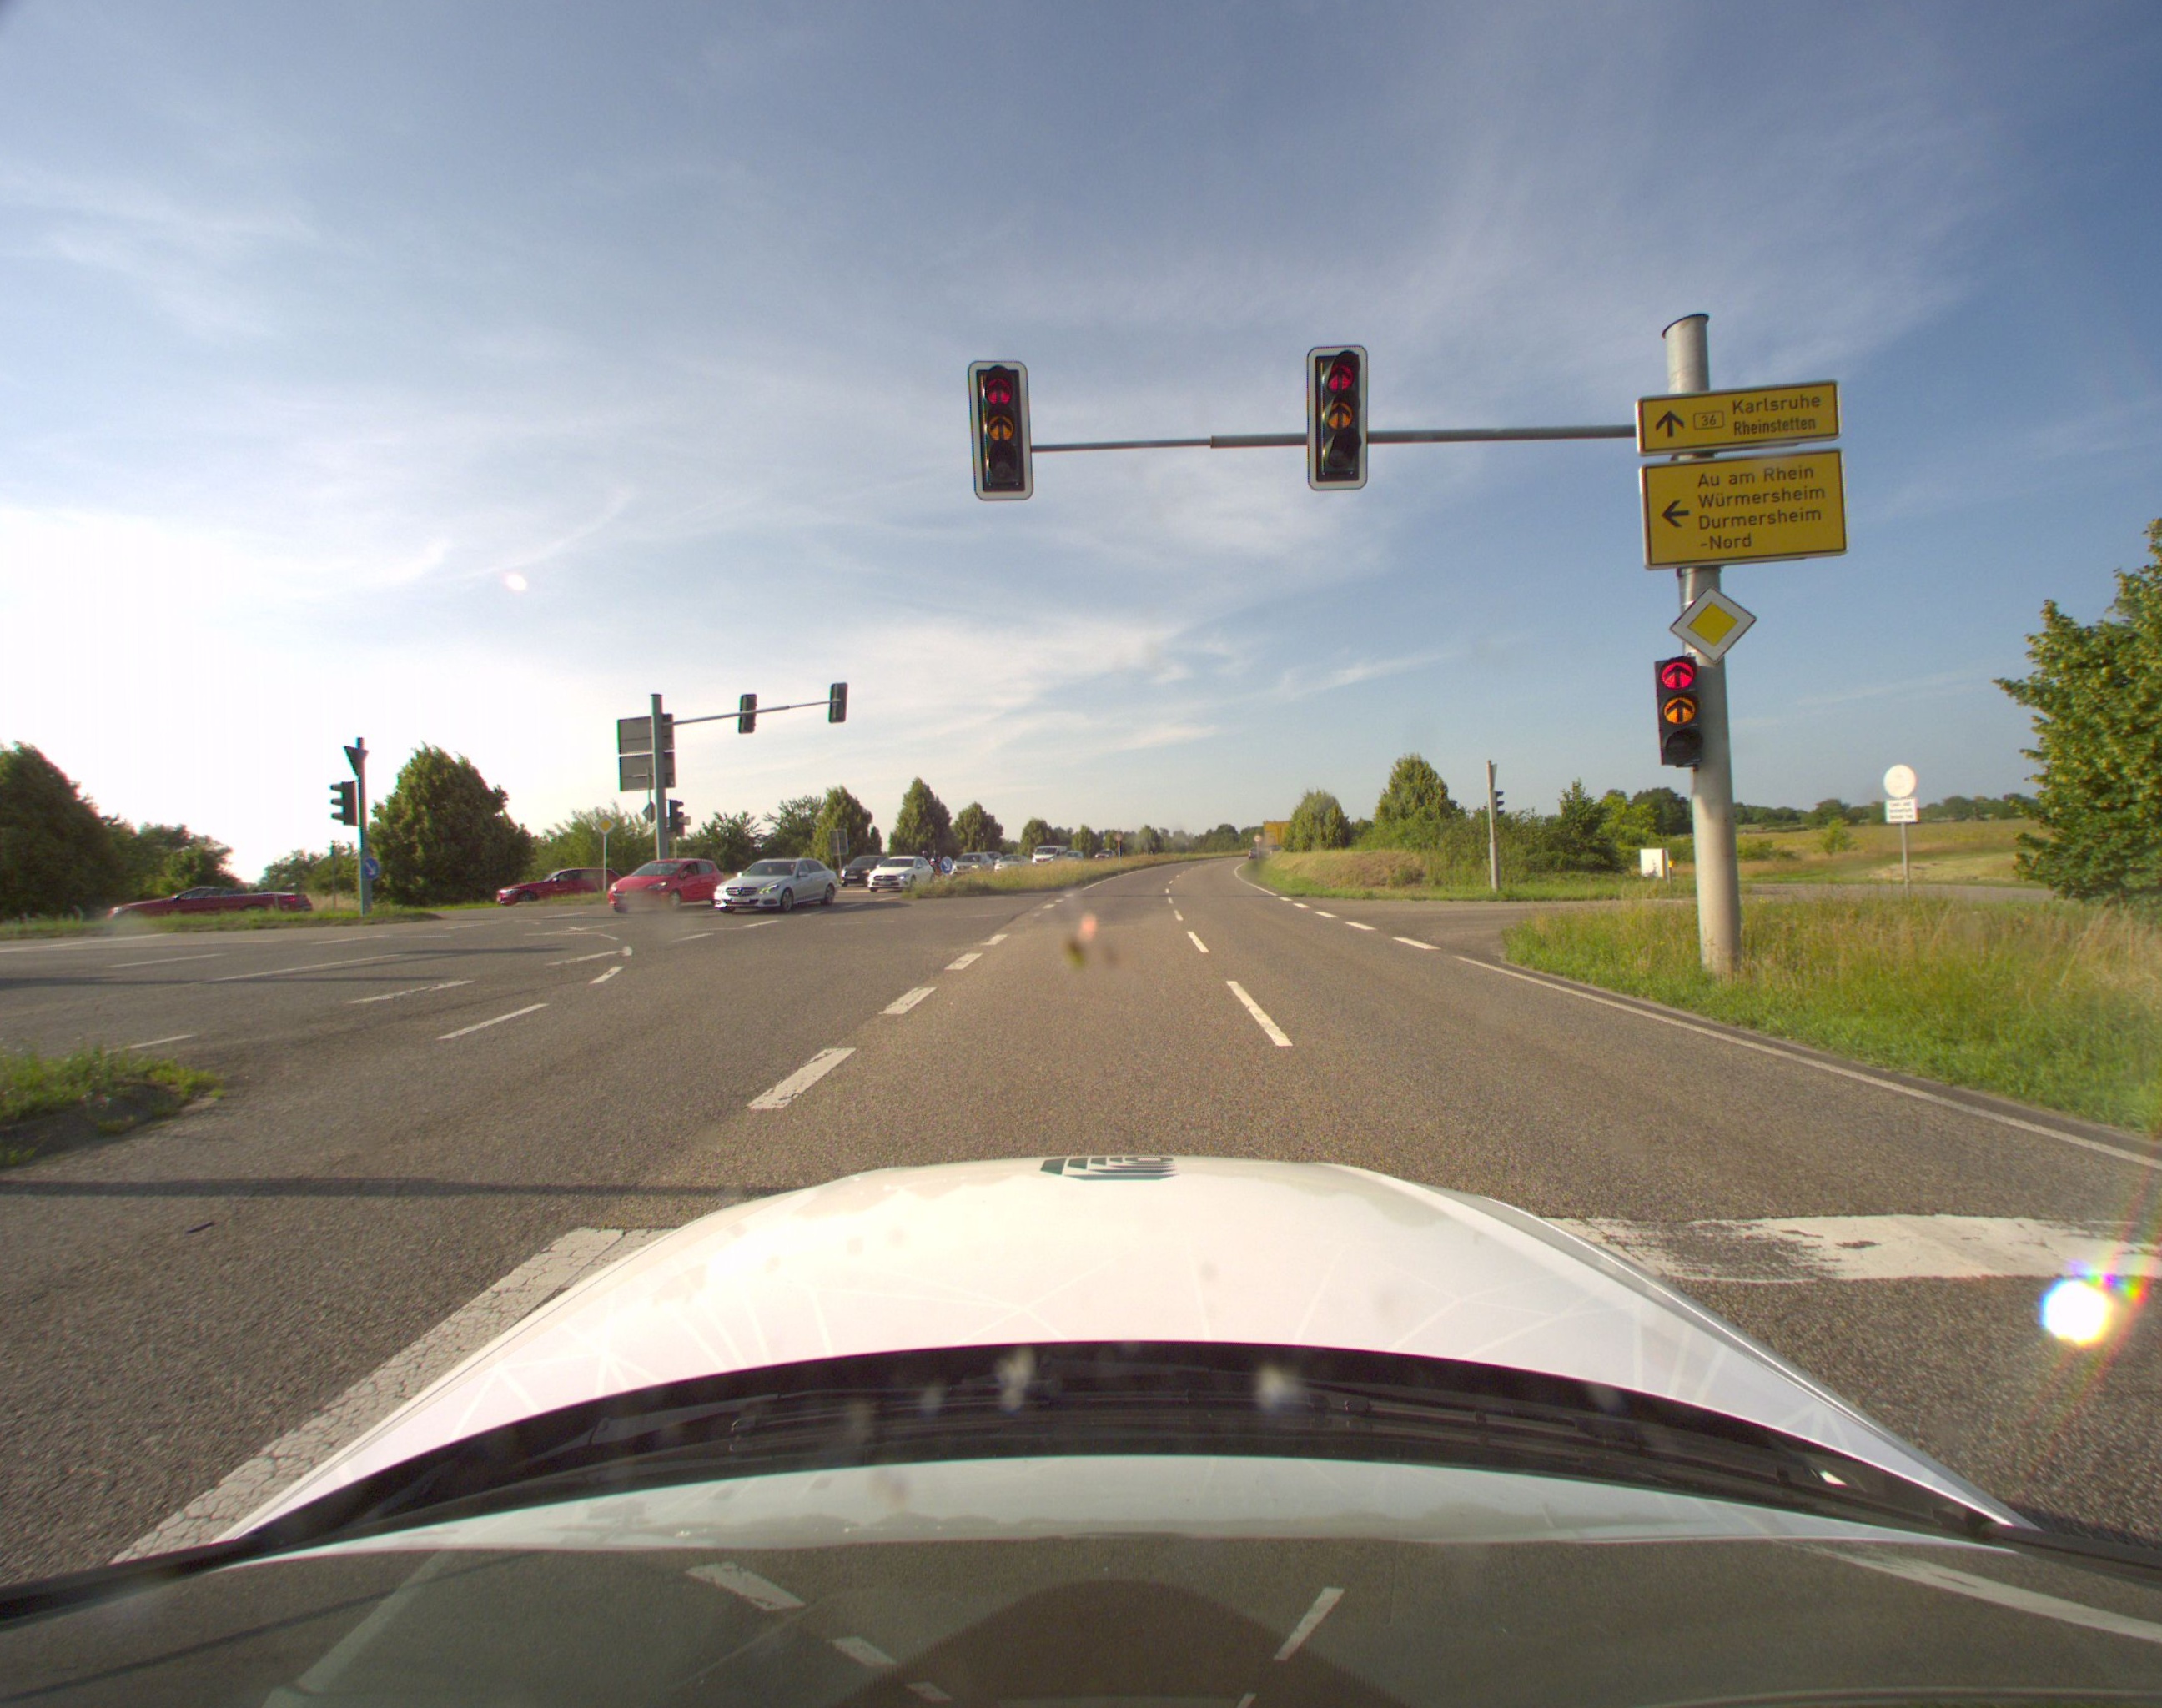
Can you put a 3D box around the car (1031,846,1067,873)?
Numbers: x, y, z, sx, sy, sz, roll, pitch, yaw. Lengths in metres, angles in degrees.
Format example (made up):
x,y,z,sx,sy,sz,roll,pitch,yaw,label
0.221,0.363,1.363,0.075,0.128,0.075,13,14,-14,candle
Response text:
x,y,z,sx,sy,sz,roll,pitch,yaw,label
-2.513,0.431,65.162,1.913,2.078,4.255,-2,0,10,car

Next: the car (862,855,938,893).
x,y,z,sx,sy,sz,roll,pitch,yaw,label
-7.540,0.788,34.297,1.777,1.433,4.316,-2,0,6,car

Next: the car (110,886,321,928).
x,y,z,sx,sy,sz,roll,pitch,yaw,label
-29.243,1.768,27.750,4.486,1.101,1.983,-2,0,-26,car

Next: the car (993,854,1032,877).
x,y,z,sx,sy,sz,roll,pitch,yaw,label
-4.535,0.746,54.162,1.777,1.385,4.058,-2,0,6,car

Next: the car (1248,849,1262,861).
x,y,z,sx,sy,sz,roll,pitch,yaw,label
23.742,0.162,111.166,1.773,1.605,4.207,-1,-1,10,car

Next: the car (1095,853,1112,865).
x,y,z,sx,sy,sz,roll,pitch,yaw,label
2.800,0.599,100.916,1.395,1.402,3.435,-2,0,14,car

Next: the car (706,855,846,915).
x,y,z,sx,sy,sz,roll,pitch,yaw,label
-8.516,0.795,23.252,1.777,1.488,4.659,-2,0,6,car

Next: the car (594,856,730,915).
x,y,z,sx,sy,sz,roll,pitch,yaw,label
-11.995,0.845,23.596,1.713,1.488,3.808,-2,0,4,car

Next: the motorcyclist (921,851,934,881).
x,y,z,sx,sy,sz,roll,pitch,yaw,label
-9.109,0.724,48.317,0.660,1.747,0.605,-2,0,-1,motorcyclist

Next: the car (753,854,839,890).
x,y,z,sx,sy,sz,roll,pitch,yaw,label
-14.631,0.881,42.019,1.825,1.726,4.023,-2,0,24,car

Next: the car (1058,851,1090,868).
x,y,z,sx,sy,sz,roll,pitch,yaw,label
-0.631,0.499,73.520,1.772,1.385,4.068,-2,0,16,car

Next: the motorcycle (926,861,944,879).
x,y,z,sx,sy,sz,roll,pitch,yaw,label
-9.274,1.027,51.893,0.870,1.097,1.298,-2,0,0,motorcycle

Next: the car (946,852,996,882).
x,y,z,sx,sy,sz,roll,pitch,yaw,label
-6.091,0.703,45.642,1.777,1.568,4.058,-2,0,6,car

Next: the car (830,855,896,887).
x,y,z,sx,sy,sz,roll,pitch,yaw,label
-10.737,0.810,40.403,1.777,1.433,4.058,-2,0,6,car

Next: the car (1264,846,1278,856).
x,y,z,sx,sy,sz,roll,pitch,yaw,label
30.233,-0.491,129.512,1.795,1.565,4.553,-1,0,19,car

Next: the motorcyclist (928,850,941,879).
x,y,z,sx,sy,sz,roll,pitch,yaw,label
-9.387,0.680,52.054,0.660,1.817,0.605,-2,0,-1,motorcyclist

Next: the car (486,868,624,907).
x,y,z,sx,sy,sz,roll,pitch,yaw,label
-20.573,1.269,31.981,1.643,1.326,4.239,-2,0,43,car

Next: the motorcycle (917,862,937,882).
x,y,z,sx,sy,sz,roll,pitch,yaw,label
-9.116,1.057,48.350,0.870,1.097,1.468,-2,0,0,motorcycle
